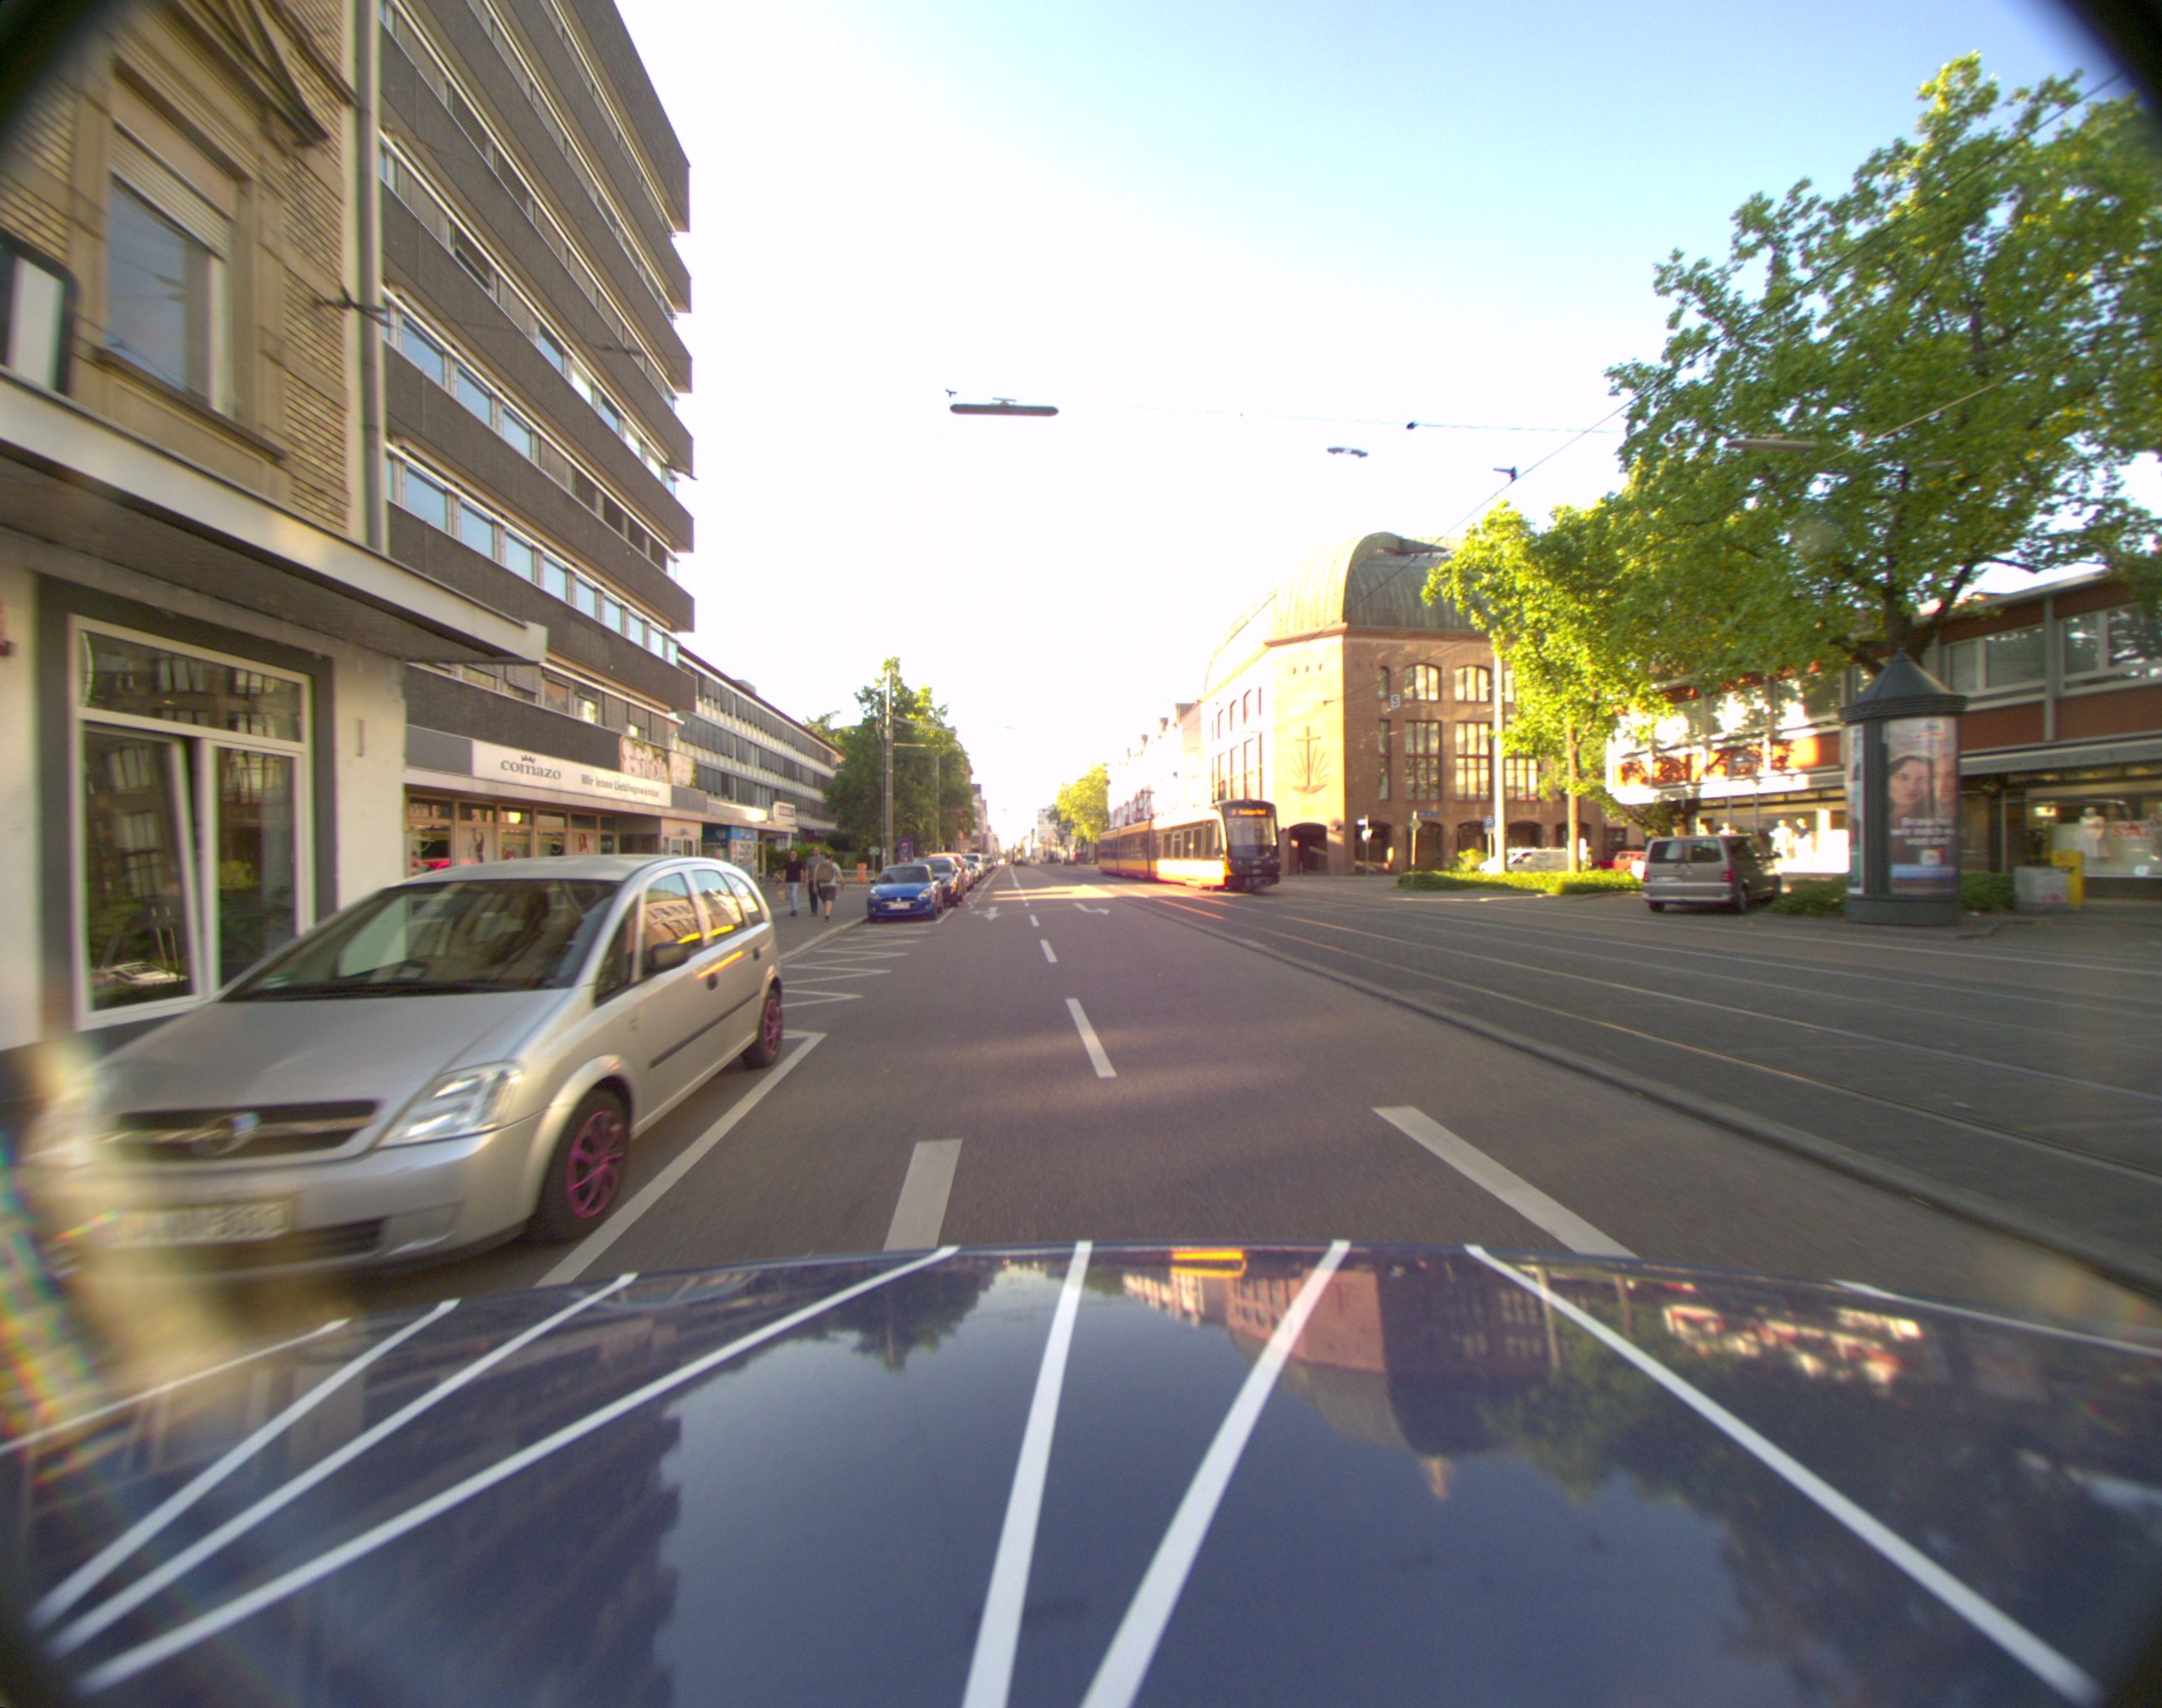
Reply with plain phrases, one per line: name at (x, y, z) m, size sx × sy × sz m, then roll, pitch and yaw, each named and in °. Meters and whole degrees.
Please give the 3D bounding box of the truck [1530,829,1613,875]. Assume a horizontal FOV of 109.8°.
truck at (31.062, -0.135, 48.243) m, size 1.856 × 2.747 × 4.527 m, roll -1°, pitch 0°, yaw -10°

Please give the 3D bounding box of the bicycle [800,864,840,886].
bicycle at (-13.387, 1.078, 38.965) m, size 1.887 × 1.090 × 0.469 m, roll -1°, pitch 1°, yaw -7°

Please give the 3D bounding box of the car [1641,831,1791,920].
car at (16.582, 0.453, 19.739) m, size 5.130 × 1.918 × 1.849 m, roll -3°, pitch 2°, yaw -37°

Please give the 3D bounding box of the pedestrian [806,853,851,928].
pedestrian at (-5.955, 0.843, 17.985) m, size 0.790 × 1.728 × 0.945 m, roll -1°, pitch 1°, yaw -6°

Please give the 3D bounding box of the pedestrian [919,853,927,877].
pedestrian at (-11.330, 0.764, 54.574) m, size 0.494 × 1.703 × 0.437 m, roll 2°, pitch 1°, yaw -6°

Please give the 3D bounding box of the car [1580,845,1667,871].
car at (34.592, 0.260, 48.585) m, size 1.856 × 1.564 × 4.527 m, roll -1°, pitch 0°, yaw -10°

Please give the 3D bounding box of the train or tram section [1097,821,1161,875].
train or tram section at (3.255, -0.433, 55.818) m, size 2.767 × 3.530 × 12.459 m, roll 0°, pitch 1°, yaw -6°

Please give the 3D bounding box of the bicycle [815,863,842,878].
bicycle at (-16.535, 1.059, 49.770) m, size 1.623 × 0.954 × 0.367 m, roll -1°, pitch 1°, yaw -34°

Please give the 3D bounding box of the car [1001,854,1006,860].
car at (-21.366, 0.921, 209.789) m, size 1.421 × 1.612 × 3.625 m, roll -2°, pitch 0°, yaw -6°

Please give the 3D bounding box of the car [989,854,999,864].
car at (-12.900, 0.784, 112.922) m, size 1.421 × 1.425 × 3.870 m, roll -2°, pitch 0°, yaw -6°

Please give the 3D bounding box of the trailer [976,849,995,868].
trailer at (-11.231, 0.536, 90.025) m, size 1.784 × 2.136 × 5.313 m, roll -2°, pitch 0°, yaw -3°

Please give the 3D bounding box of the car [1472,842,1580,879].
car at (25.353, 0.338, 43.392) m, size 4.994 × 1.957 × 2.130 m, roll -1°, pitch 3°, yaw -7°

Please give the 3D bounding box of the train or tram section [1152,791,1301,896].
train or tram section at (5.528, -0.406, 32.094) m, size 2.684 × 3.530 × 12.833 m, roll 0°, pitch 1°, yaw -6°

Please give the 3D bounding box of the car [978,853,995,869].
car at (-10.560, 0.740, 85.169) m, size 1.785 × 1.735 × 4.472 m, roll -2°, pitch 0°, yaw -6°

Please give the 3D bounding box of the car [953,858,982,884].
car at (-7.297, 1.069, 49.282) m, size 1.679 × 1.396 × 4.164 m, roll -3°, pitch 1°, yaw -7°

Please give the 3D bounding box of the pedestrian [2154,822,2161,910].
pedestrian at (23.478, 0.248, 16.057) m, size 0.921 × 1.867 × 0.898 m, roll -1°, pitch 1°, yaw -34°

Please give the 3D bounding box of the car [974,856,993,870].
car at (-10.114, 0.922, 78.877) m, size 1.785 × 1.420 × 4.210 m, roll -2°, pitch 0°, yaw -6°

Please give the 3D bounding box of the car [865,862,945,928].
car at (-4.698, 1.034, 20.707) m, size 1.642 × 1.484 × 3.792 m, roll -3°, pitch 1°, yaw -7°

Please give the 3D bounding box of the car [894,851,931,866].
car at (-21.324, 0.583, 96.204) m, size 4.370 × 1.662 × 1.588 m, roll 2°, pitch 0°, yaw -9°

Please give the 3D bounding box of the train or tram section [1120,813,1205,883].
train or tram section at (4.421, -0.342, 44.054) m, size 2.684 × 3.530 × 11.119 m, roll 0°, pitch 1°, yaw -6°

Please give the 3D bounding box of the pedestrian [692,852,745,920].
pedestrian at (-9.415, 0.810, 19.754) m, size 0.903 × 1.703 × 1.032 m, roll 2°, pitch 0°, yaw -6°

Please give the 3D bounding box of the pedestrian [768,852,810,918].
pedestrian at (-7.881, 0.810, 20.543) m, size 0.813 × 1.746 × 1.032 m, roll 0°, pitch 1°, yaw -6°

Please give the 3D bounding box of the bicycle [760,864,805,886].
bicycle at (-14.899, 1.032, 37.937) m, size 2.021 × 1.089 × 0.637 m, roll 0°, pitch 0°, yaw -12°

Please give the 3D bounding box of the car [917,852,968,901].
car at (-5.559, 0.863, 30.969) m, size 1.680 × 1.797 × 4.246 m, roll -2°, pitch 0°, yaw -6°

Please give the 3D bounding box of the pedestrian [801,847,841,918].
pedestrian at (-7.056, 0.750, 20.635) m, size 0.796 × 1.888 × 1.032 m, roll 0°, pitch 1°, yaw -6°

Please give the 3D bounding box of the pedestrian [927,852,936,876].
pedestrian at (-10.746, 0.744, 54.610) m, size 0.494 × 1.703 × 0.437 m, roll 2°, pitch 1°, yaw -6°

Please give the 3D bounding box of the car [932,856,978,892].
car at (-6.087, 0.912, 37.066) m, size 1.792 × 1.586 × 4.324 m, roll -2°, pitch 0°, yaw -4°

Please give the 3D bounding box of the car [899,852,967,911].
car at (-4.981, 0.866, 26.172) m, size 1.826 × 1.747 × 4.472 m, roll -2°, pitch 1°, yaw -6°

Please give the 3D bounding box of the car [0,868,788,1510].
car at (-2.948, 0.944, 4.005) m, size 1.642 × 1.605 × 3.942 m, roll -2°, pitch 0°, yaw -7°

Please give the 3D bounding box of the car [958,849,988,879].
car at (-7.863, 0.686, 55.541) m, size 1.882 × 2.009 × 4.902 m, roll -2°, pitch 0°, yaw -5°

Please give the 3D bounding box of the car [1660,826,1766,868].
car at (40.578, -0.416, 49.010) m, size 1.856 × 2.528 × 5.410 m, roll -1°, pitch 0°, yaw -8°
